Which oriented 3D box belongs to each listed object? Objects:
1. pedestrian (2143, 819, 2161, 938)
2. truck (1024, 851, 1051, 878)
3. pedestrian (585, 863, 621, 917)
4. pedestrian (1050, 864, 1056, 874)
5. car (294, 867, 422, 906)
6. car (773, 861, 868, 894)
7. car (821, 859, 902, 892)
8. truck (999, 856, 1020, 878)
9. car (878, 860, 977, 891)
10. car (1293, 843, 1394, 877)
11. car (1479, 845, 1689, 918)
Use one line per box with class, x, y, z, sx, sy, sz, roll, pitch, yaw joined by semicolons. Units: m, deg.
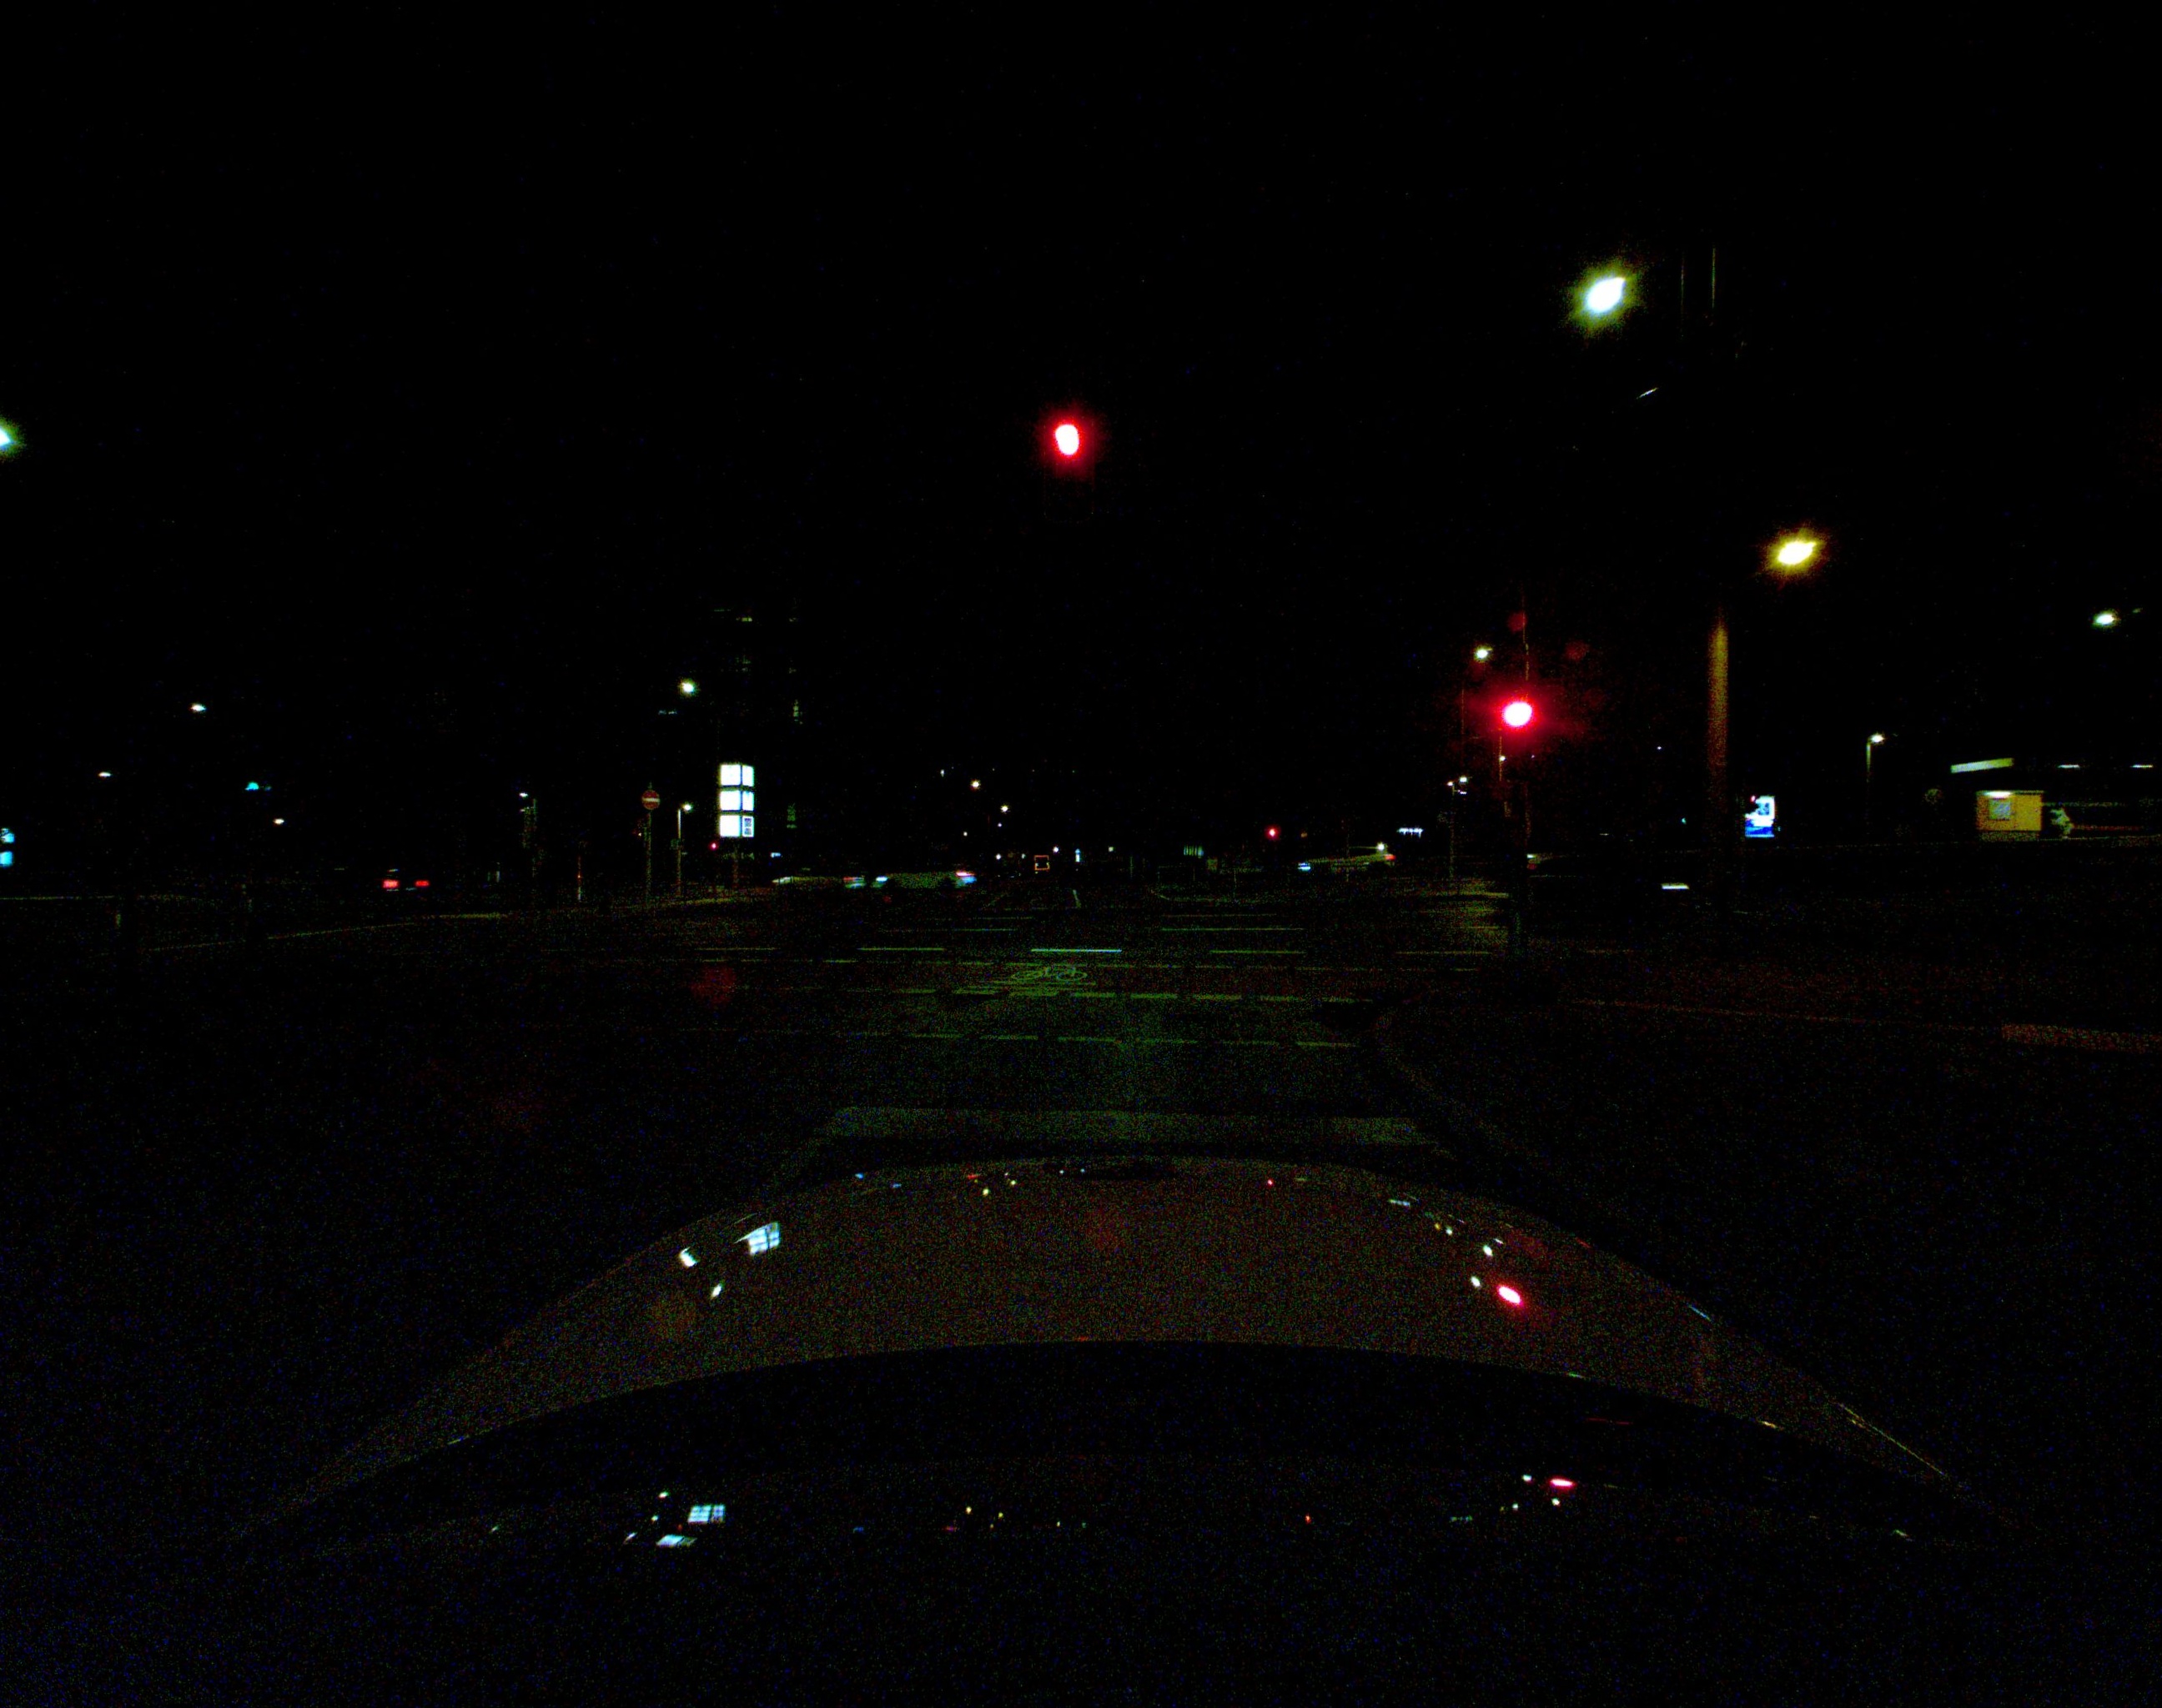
pedestrian;14.736;0.319;10.563;0.870;1.656;0.843;-7;-5;42
truck;-7.990;1.912;149.256;3.366;4.843;7.865;0;-1;-14
pedestrian;-15.454;1.143;26.339;0.700;1.722;0.681;0;-1;10
pedestrian;-5.089;2.747;147.953;0.851;1.912;1.001;0;-1;-16
car;-36.166;1.589;40.804;4.920;1.884;1.871;0;-1;5
car;-12.251;1.103;38.408;3.817;1.486;1.871;0;-1;5
car;-12.022;1.167;44.758;3.798;1.631;1.816;-2;0;8
truck;-10.551;1.931;120.151;2.419;3.089;6.412;0;-1;-11
car;-7.686;1.058;40.897;4.553;1.486;1.781;0;0;5
car;12.762;0.298;39.748;4.377;1.644;1.944;0;-1;5
car;11.228;0.586;18.386;3.669;1.420;1.645;-3;0;5
